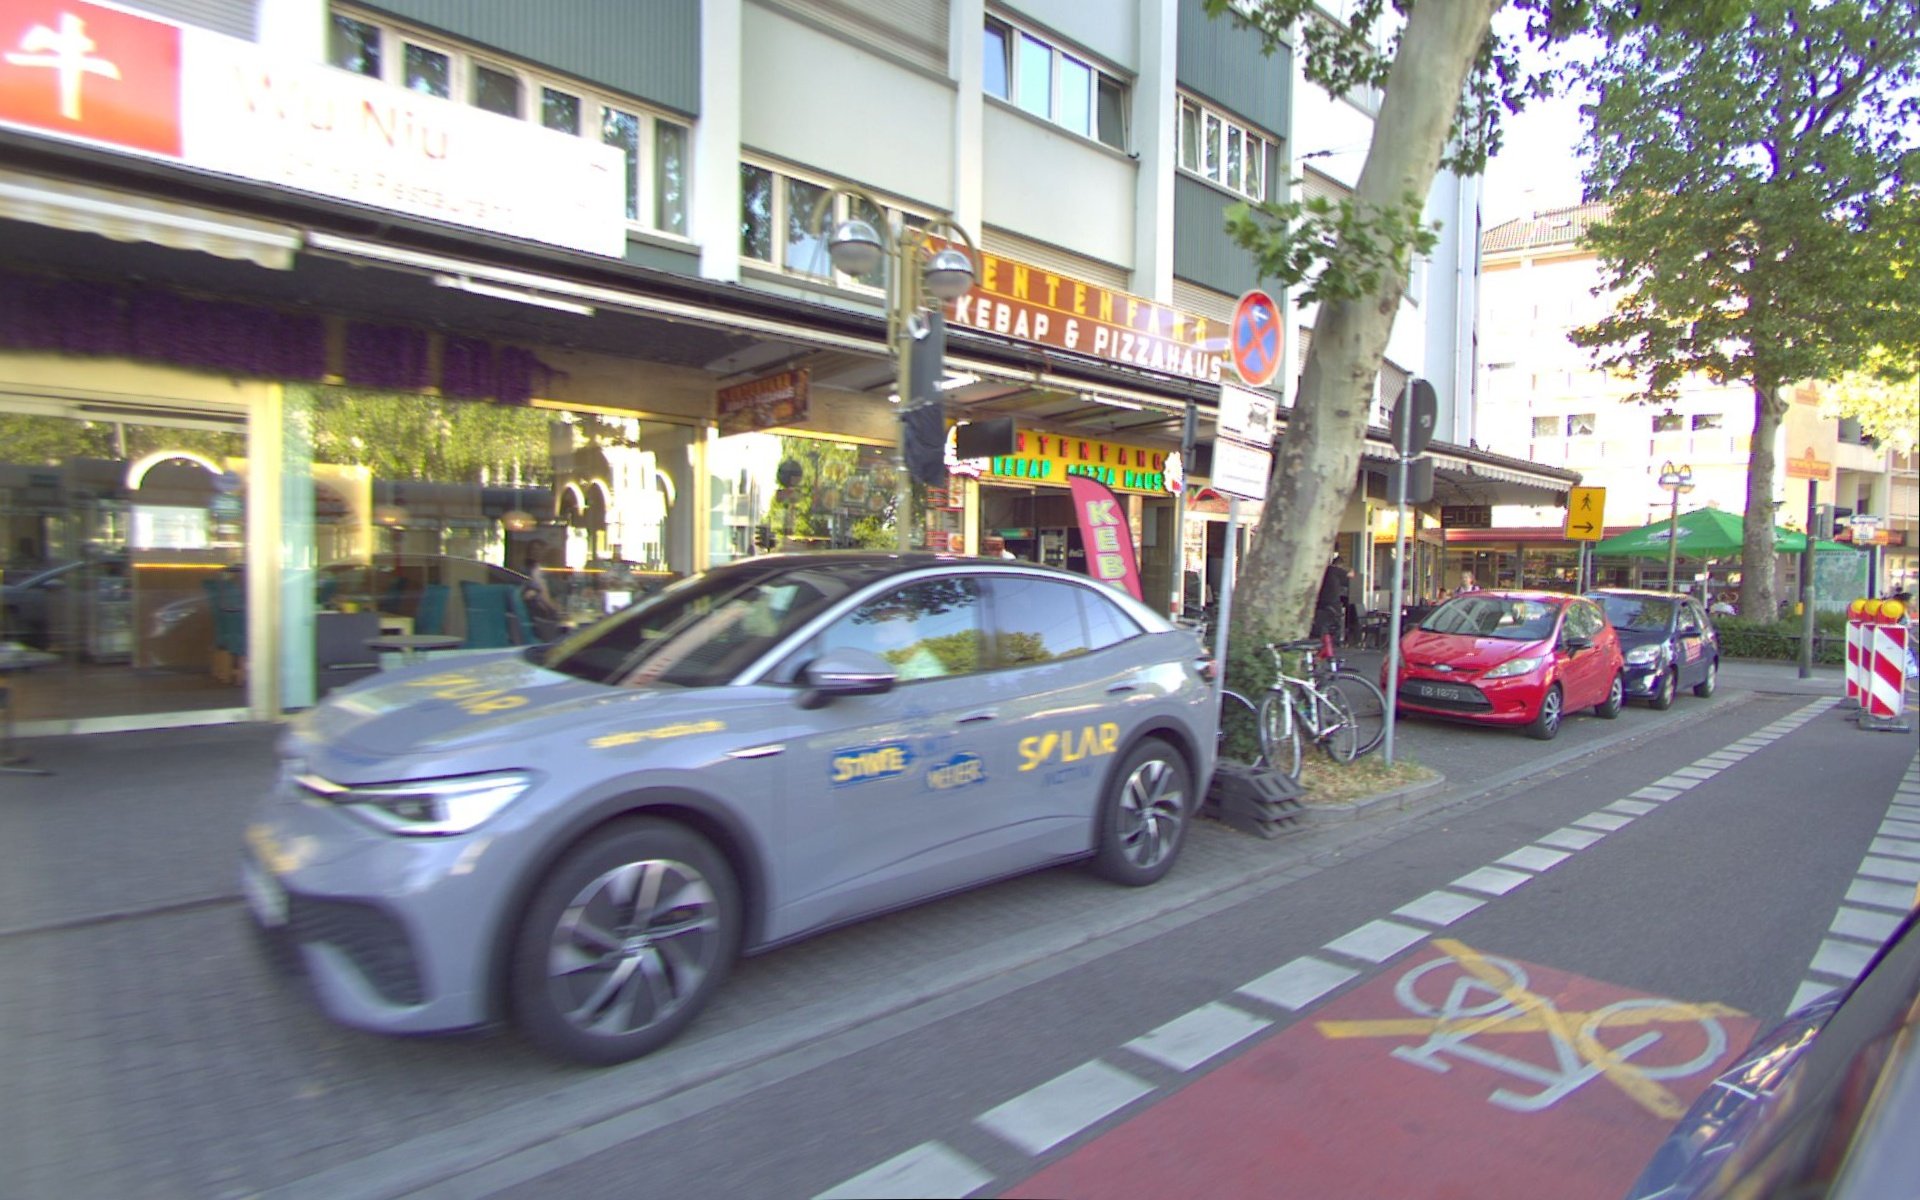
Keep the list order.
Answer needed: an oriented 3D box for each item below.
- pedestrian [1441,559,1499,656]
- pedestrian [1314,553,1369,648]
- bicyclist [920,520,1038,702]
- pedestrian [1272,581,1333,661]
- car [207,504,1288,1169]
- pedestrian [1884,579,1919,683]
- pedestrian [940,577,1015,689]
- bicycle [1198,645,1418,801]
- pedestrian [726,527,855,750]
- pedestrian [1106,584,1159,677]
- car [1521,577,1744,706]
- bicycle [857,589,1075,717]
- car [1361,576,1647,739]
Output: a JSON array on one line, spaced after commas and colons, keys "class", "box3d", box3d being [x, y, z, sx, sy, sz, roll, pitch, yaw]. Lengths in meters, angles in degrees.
[{"class": "pedestrian", "box3d": [8.612, 0.117, 17.091, 0.630, 1.579, 0.584, 0, 3, -39]}, {"class": "pedestrian", "box3d": [7.165, -0.007, 19.023, 0.666, 1.730, 0.709, 0, 1, -40]}, {"class": "bicyclist", "box3d": [0.191, 0.085, 10.281, 0.815, 1.729, 0.771, 0, 4, -41]}, {"class": "pedestrian", "box3d": [5.288, 0.317, 15.629, 0.613, 1.161, 0.601, 0, 5, -40]}, {"class": "car", "box3d": [-0.508, 0.511, 4.790, 4.713, 1.617, 1.920, 0, 3, -44]}, {"class": "pedestrian", "box3d": [14.685, 0.469, 15.578, 0.464, 1.580, 0.622, 0, 1, -42]}, {"class": "pedestrian", "box3d": [0.204, 0.376, 12.205, 0.596, 1.281, 0.646, 0, 2, -41]}, {"class": "bicycle", "box3d": [2.647, 0.851, 7.557, 2.004, 0.895, 0.625, 0, 4, -42]}, {"class": "pedestrian", "box3d": [-1.307, 0.262, 7.768, 0.666, 1.605, 0.709, 0, 3, -42]}, {"class": "pedestrian", "box3d": [2.231, 0.385, 13.088, 0.514, 1.148, 0.504, 3, 2, 27]}, {"class": "car", "box3d": [9.462, 0.483, 14.141, 3.735, 1.497, 1.658, 0, 3, -42]}, {"class": "bicycle", "box3d": [0.109, 0.475, 10.234, 2.228, 1.117, 0.778, 0, 4, -42]}, {"class": "car", "box3d": [6.271, 0.511, 11.476, 3.919, 1.460, 1.732, 0, 3, -44]}]
